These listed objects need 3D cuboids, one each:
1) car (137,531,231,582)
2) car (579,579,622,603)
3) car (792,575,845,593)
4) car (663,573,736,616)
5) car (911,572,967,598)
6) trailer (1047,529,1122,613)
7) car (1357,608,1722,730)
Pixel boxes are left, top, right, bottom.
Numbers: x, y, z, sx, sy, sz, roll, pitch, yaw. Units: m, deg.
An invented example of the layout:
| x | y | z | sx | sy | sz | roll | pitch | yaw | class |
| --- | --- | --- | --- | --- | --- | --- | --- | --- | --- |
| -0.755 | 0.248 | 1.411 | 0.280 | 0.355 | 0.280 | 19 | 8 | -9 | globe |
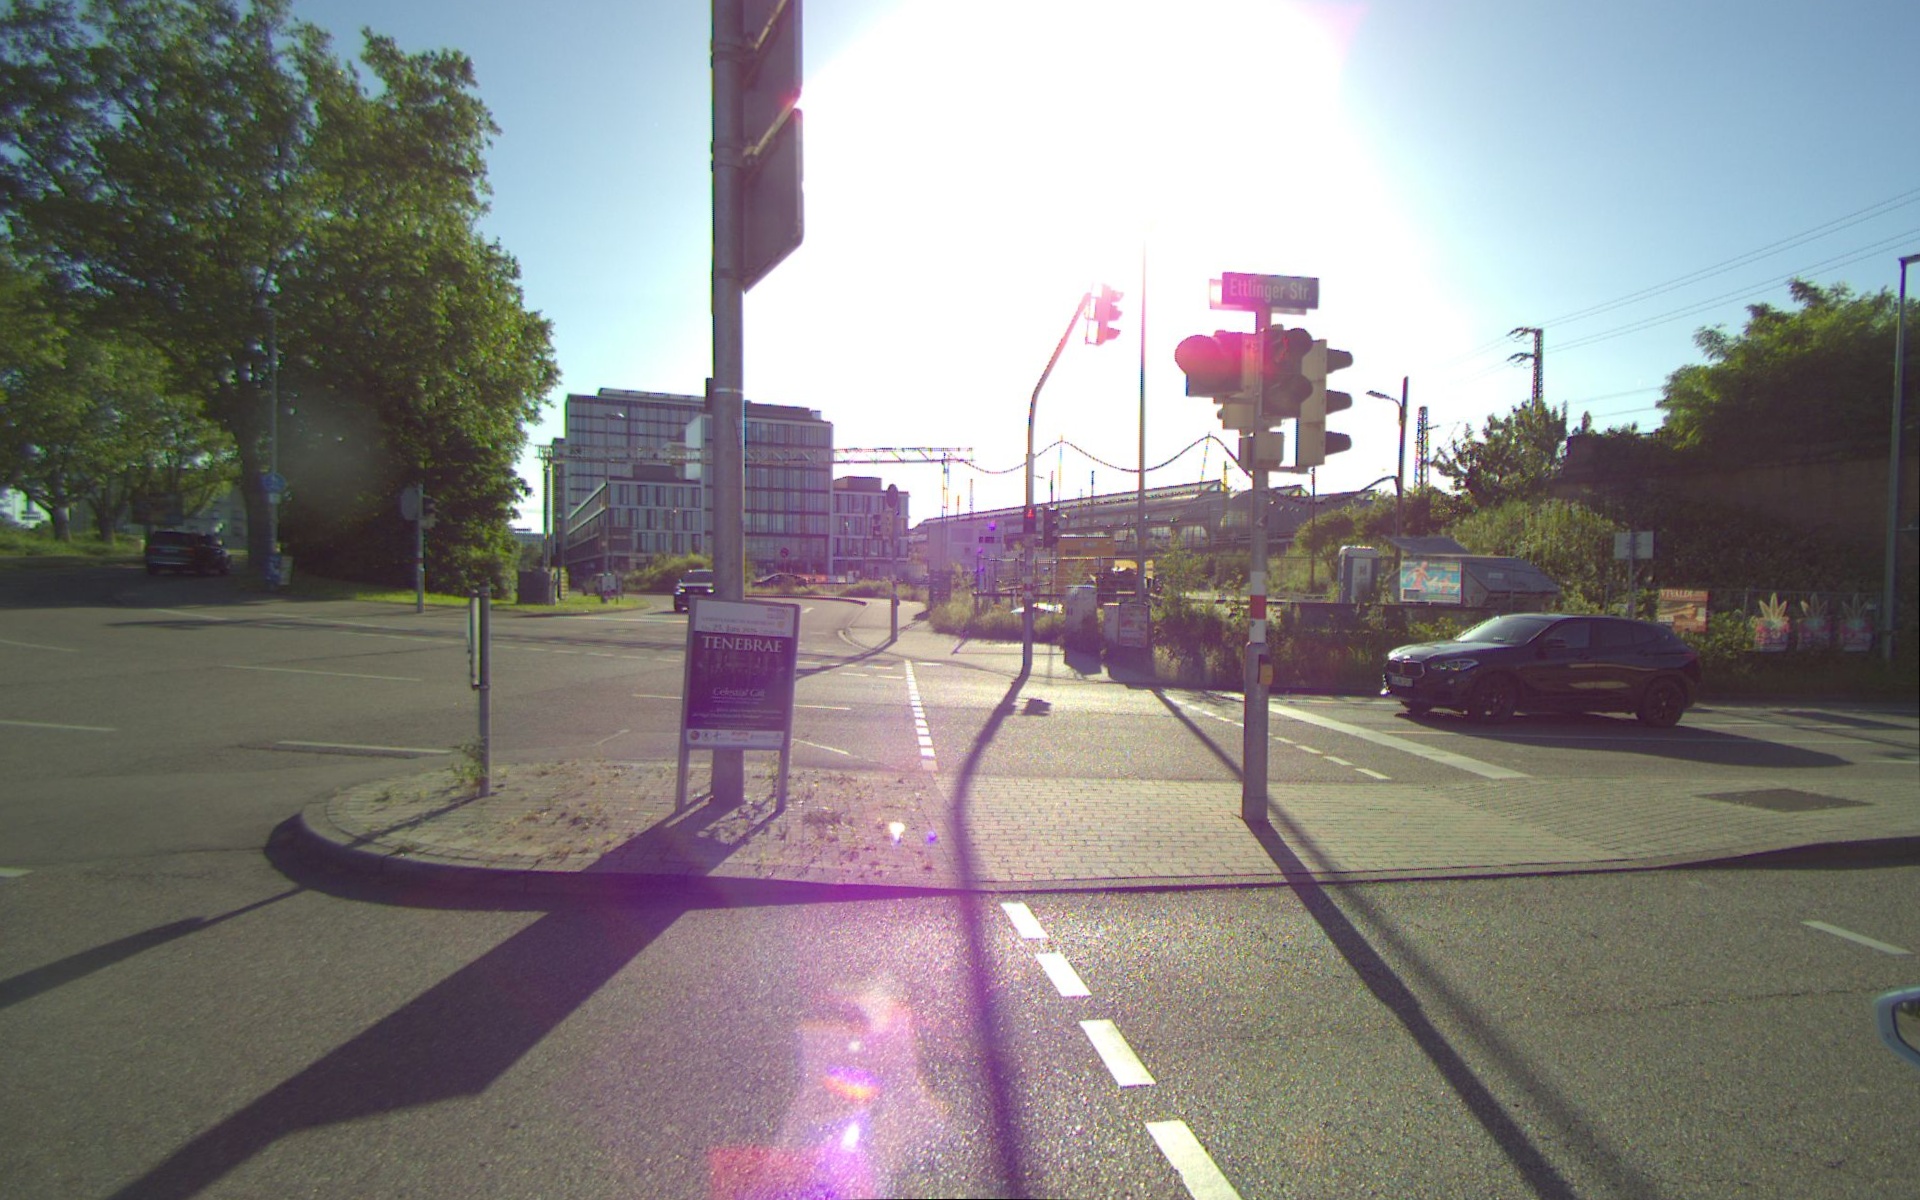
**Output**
| x | y | z | sx | sy | sz | roll | pitch | yaw | class |
| --- | --- | --- | --- | --- | --- | --- | --- | --- | --- |
| -32.062 | -1.775 | 41.671 | 2.091 | 1.913 | 4.781 | 1 | 2 | -25 | car |
| -25.024 | -0.635 | 69.860 | 1.737 | 1.496 | 3.958 | 0 | 2 | -37 | car |
| -16.130 | -1.760 | 114.213 | 5.653 | 1.870 | 1.902 | 1 | 2 | -30 | car |
| -9.706 | -0.237 | 37.704 | 1.719 | 1.496 | 3.999 | 1 | 2 | -1 | car |
| -1.578 | -1.159 | 75.599 | 3.934 | 1.812 | 1.650 | 2 | 1 | -15 | car |
| 5.449 | -1.252 | 44.630 | 2.945 | 3.336 | 6.670 | 2 | 1 | 6 | trailer |
| 8.232 | 0.963 | 14.439 | 4.309 | 1.538 | 1.952 | 2 | 1 | -11 | car |
